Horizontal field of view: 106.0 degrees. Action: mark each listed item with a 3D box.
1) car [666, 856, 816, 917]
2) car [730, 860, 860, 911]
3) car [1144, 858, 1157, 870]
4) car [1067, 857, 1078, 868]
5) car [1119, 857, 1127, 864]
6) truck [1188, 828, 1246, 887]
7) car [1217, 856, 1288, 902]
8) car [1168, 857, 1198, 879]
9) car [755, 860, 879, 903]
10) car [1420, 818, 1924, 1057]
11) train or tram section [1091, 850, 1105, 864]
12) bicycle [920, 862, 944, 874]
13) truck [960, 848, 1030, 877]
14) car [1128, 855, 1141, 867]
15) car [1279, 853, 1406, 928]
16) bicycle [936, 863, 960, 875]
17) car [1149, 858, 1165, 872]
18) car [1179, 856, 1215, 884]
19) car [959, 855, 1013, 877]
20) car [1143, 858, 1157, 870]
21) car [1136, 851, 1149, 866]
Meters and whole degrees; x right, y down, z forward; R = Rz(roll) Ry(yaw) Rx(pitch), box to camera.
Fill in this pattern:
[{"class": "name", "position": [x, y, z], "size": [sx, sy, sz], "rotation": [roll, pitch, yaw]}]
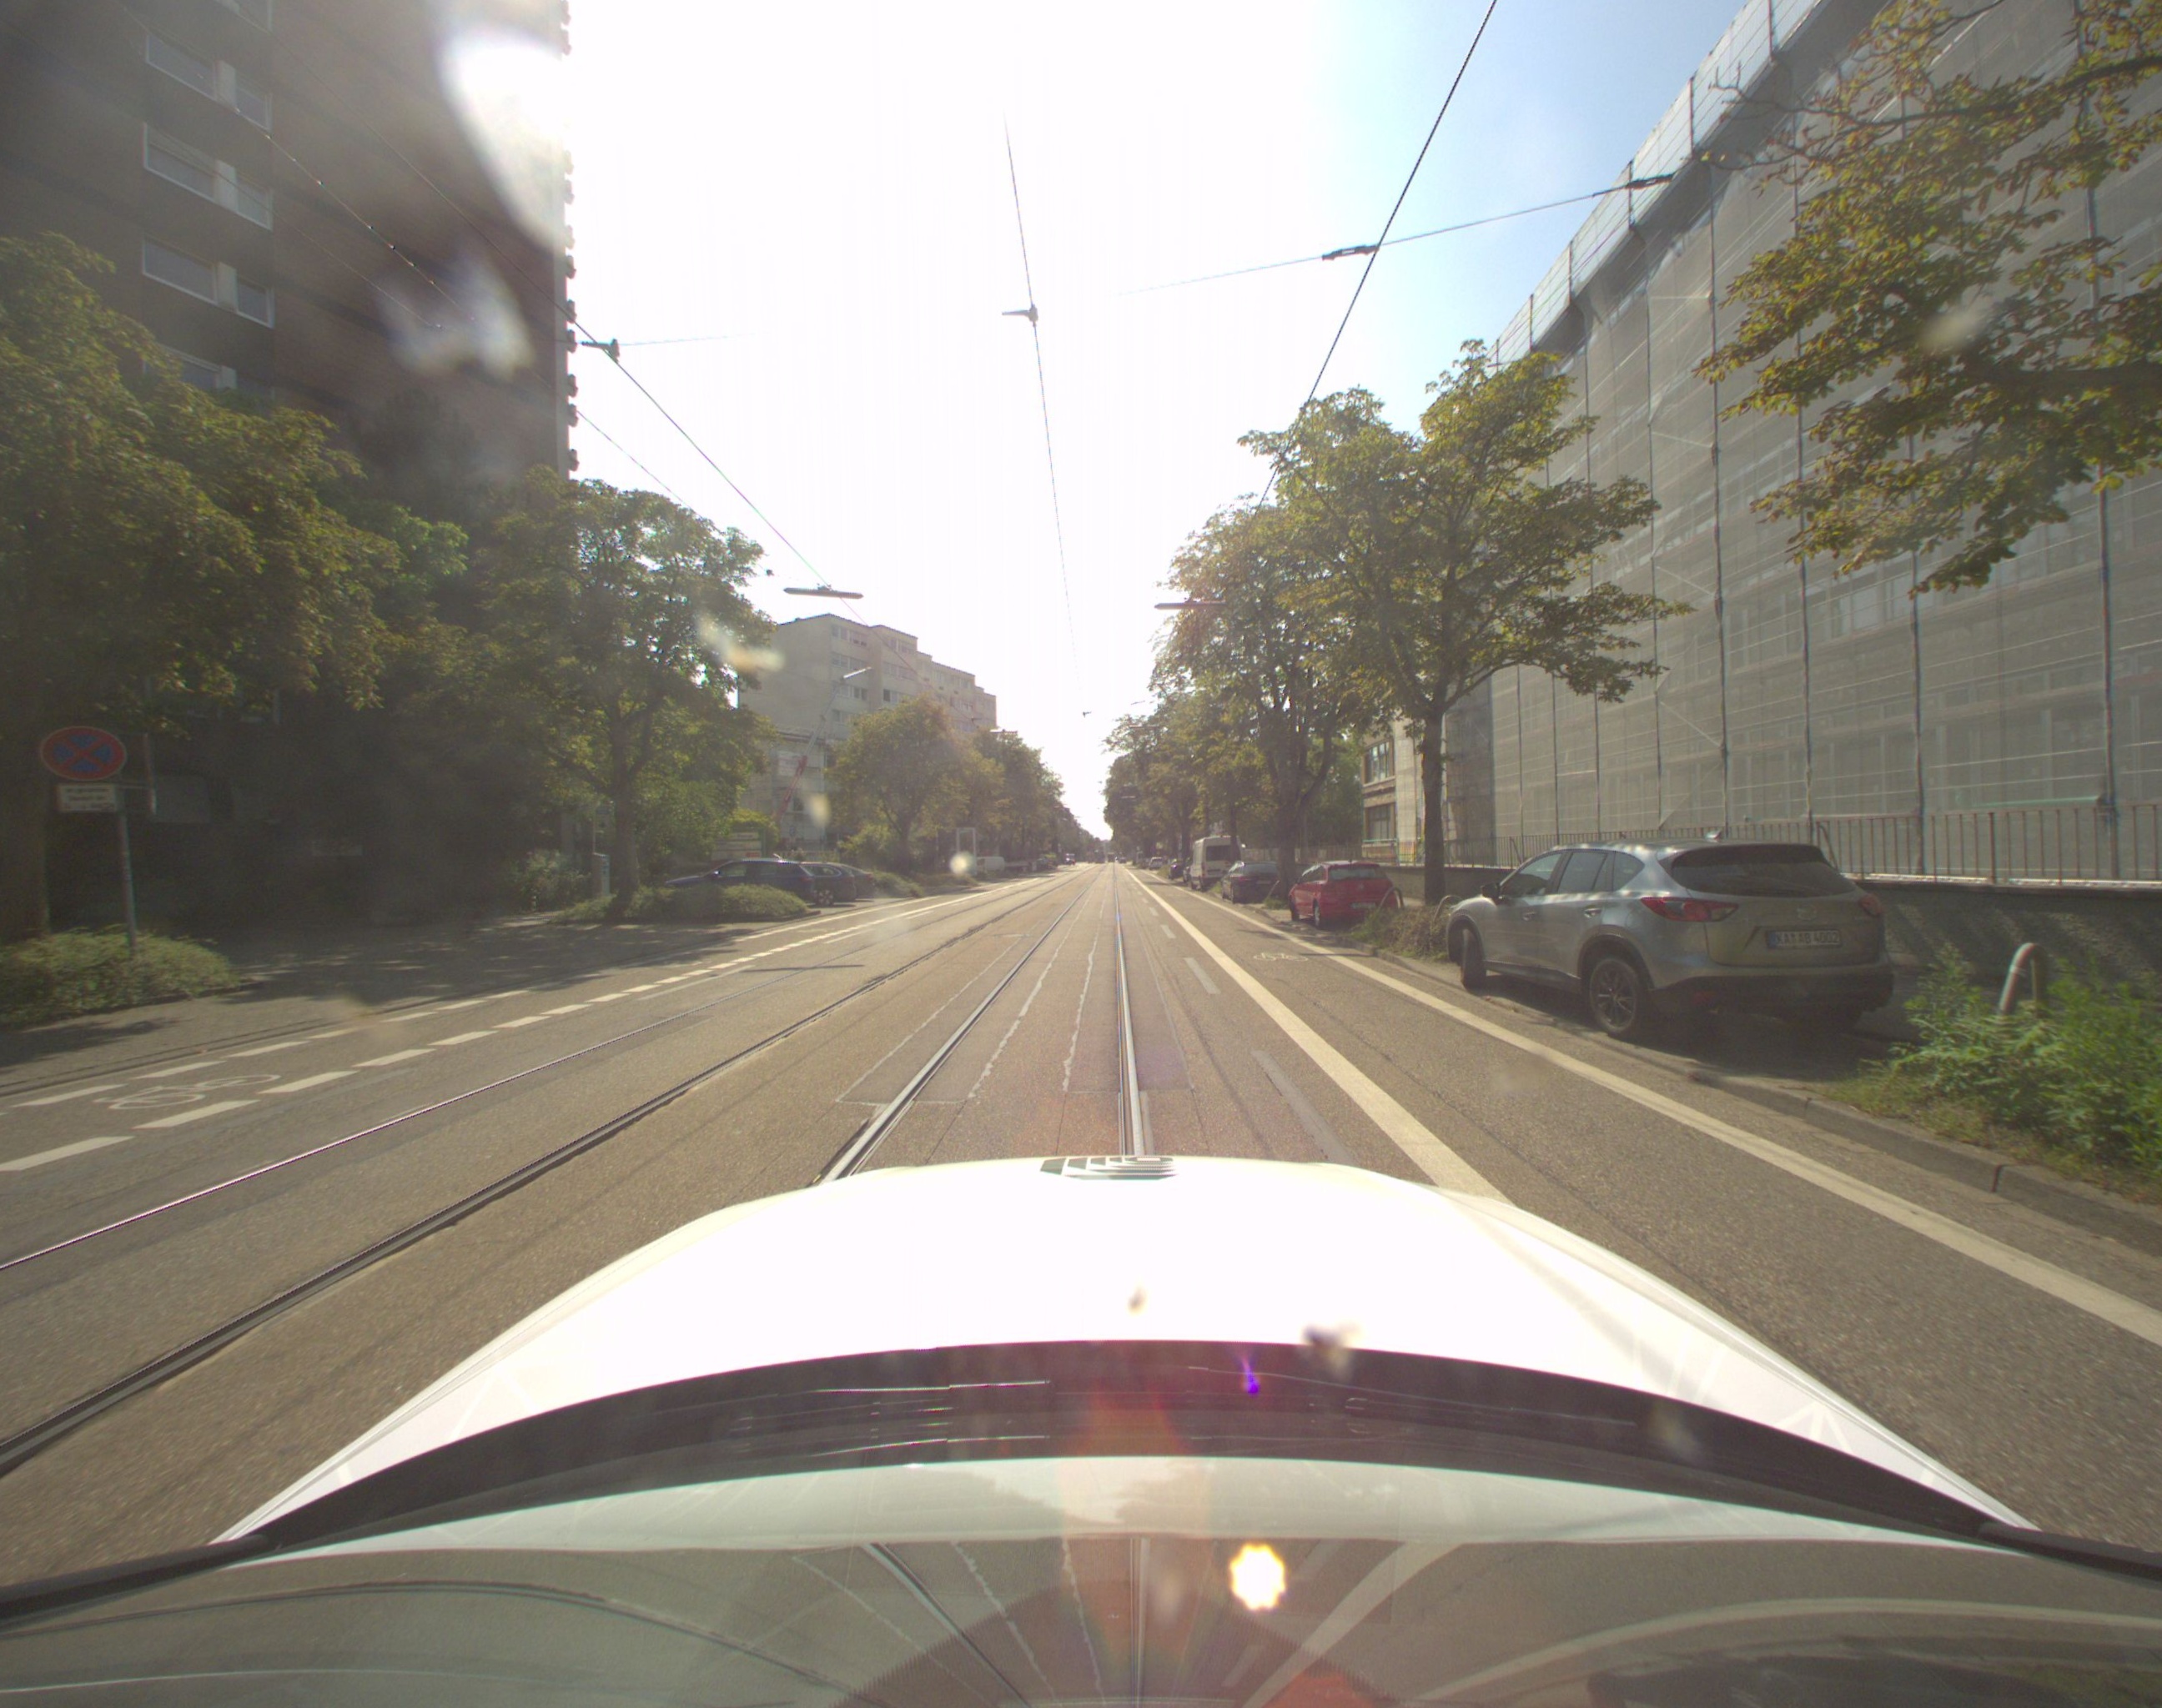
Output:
[{"class": "car", "position": [-10.121, 0.924, 24.473], "size": [4.002, 1.648, 1.829], "rotation": [-1, 0, -21]}, {"class": "car", "position": [-9.692, 1.008, 27.562], "size": [4.006, 1.570, 1.766], "rotation": [-1, 0, -25]}, {"class": "car", "position": [8.985, 1.304, 105.387], "size": [1.634, 1.512, 3.643], "rotation": [-1, -1, 2]}, {"class": "car", "position": [-1.916, 1.972, 183.319], "size": [2.236, 2.441, 3.998], "rotation": [-1, -1, -1]}, {"class": "car", "position": [10.319, 1.657, 199.943], "size": [1.985, 1.801, 4.002], "rotation": [0, -1, 3]}, {"class": "truck", "position": [6.406, 0.180, 39.009], "size": [1.910, 2.599, 5.593], "rotation": [-1, -1, 1]}, {"class": "car", "position": [5.966, 0.841, 28.825], "size": [1.678, 1.440, 4.806], "rotation": [-1, -1, 3]}, {"class": "car", "position": [7.248, 1.005, 58.251], "size": [1.667, 1.458, 4.666], "rotation": [-2, 0, 2]}, {"class": "car", "position": [-10.010, 1.008, 30.864], "size": [4.302, 1.497, 1.766], "rotation": [-1, 0, -24]}, {"class": "car", "position": [5.209, 0.611, 8.175], "size": [1.755, 1.688, 4.650], "rotation": [-1, 0, 1]}, {"class": "train or tram section", "position": [4.631, 0.736, 219.914], "size": [3.482, 3.704, 12.422], "rotation": [-1, 0, 3]}, {"class": "bicycle", "position": [-14.608, 1.403, 80.048], "size": [2.318, 1.169, 0.605], "rotation": [0, -1, 22]}, {"class": "truck", "position": [-7.653, 0.742, 73.167], "size": [5.996, 2.434, 2.127], "rotation": [-1, -1, -37]}, {"class": "car", "position": [10.527, 1.334, 160.079], "size": [1.989, 2.233, 3.996], "rotation": [-1, -1, -3]}, {"class": "car", "position": [5.844, 0.774, 18.713], "size": [1.679, 1.500, 4.133], "rotation": [-1, -1, 2]}, {"class": "bicycle", "position": [-13.533, 1.483, 82.805], "size": [2.319, 1.169, 0.625], "rotation": [0, -1, 20]}, {"class": "car", "position": [8.560, 1.235, 91.761], "size": [1.783, 1.446, 3.737], "rotation": [-2, -1, 5]}, {"class": "car", "position": [7.001, 0.953, 49.322], "size": [1.667, 1.580, 4.174], "rotation": [-3, -1, 2]}, {"class": "car", "position": [-8.057, 1.032, 69.359], "size": [4.308, 1.772, 1.803], "rotation": [-1, -1, -41]}, {"class": "car", "position": [9.445, 1.327, 111.623], "size": [1.786, 1.577, 4.004], "rotation": [-1, -1, 4]}, {"class": "car", "position": [10.106, 0.796, 133.366], "size": [1.985, 2.365, 4.002], "rotation": [0, -1, 3]}]
